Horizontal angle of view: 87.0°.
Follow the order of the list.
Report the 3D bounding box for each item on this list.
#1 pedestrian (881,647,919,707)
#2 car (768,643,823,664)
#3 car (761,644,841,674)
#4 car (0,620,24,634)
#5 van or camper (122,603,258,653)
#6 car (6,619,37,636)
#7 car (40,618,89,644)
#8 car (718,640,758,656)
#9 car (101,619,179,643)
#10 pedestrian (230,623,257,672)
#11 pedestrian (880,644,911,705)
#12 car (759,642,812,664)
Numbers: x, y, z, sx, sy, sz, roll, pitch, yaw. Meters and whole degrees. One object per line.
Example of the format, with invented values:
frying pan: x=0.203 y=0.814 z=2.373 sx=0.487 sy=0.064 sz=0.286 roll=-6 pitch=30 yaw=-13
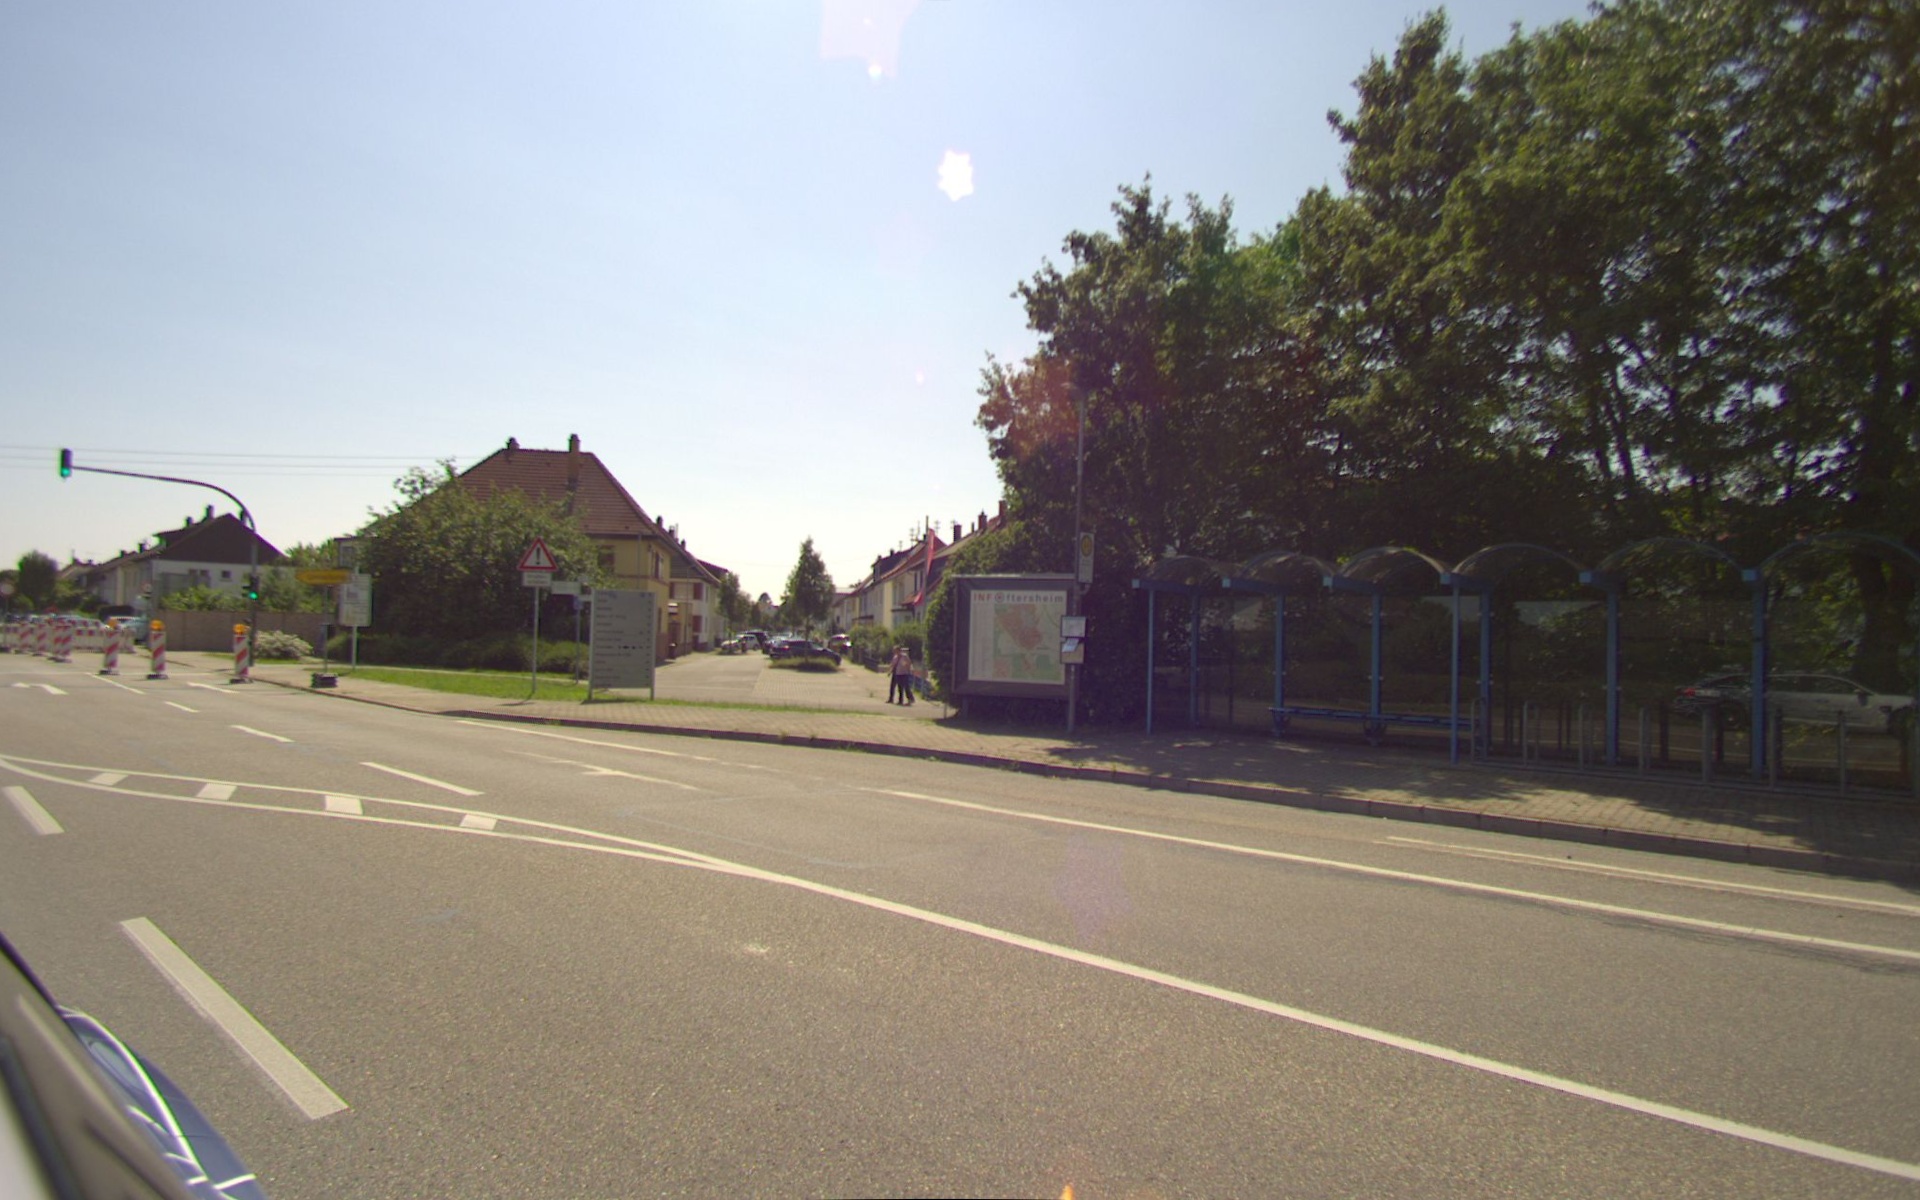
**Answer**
pedestrian: x=-1.803 y=2.309 z=30.349 sx=0.944 sy=1.753 sz=0.818 roll=2 pitch=-2 yaw=-16
car: x=-10.590 y=3.414 z=65.043 sx=3.281 sy=1.281 sz=1.426 roll=2 pitch=-3 yaw=-19
car: x=-8.618 y=3.170 z=55.017 sx=3.939 sy=1.472 sz=1.805 roll=1 pitch=-2 yaw=-43
car: x=-102.671 y=2.878 z=109.390 sx=3.915 sy=1.428 sz=1.716 roll=-1 pitch=-3 yaw=42
van or camper: x=-47.185 y=1.757 z=62.170 sx=2.285 sy=2.866 sz=6.189 roll=-1 pitch=-3 yaw=34
car: x=-88.651 y=2.601 z=95.598 sx=3.915 sy=1.525 sz=1.716 roll=-1 pitch=-3 yaw=42
car: x=-58.705 y=2.025 z=66.289 sx=4.227 sy=1.603 sz=1.838 roll=-1 pitch=-4 yaw=42
car: x=-20.397 y=4.395 z=93.038 sx=1.380 sy=1.424 sz=3.519 roll=-1 pitch=-3 yaw=39
car: x=-57.941 y=2.187 z=71.547 sx=1.766 sy=1.628 sz=3.950 roll=-1 pitch=-3 yaw=37
pedestrian: x=-24.337 y=1.616 z=34.389 sx=0.688 sy=1.620 sz=0.607 roll=-1 pitch=0 yaw=44
pedestrian: x=-1.977 y=2.279 z=31.016 sx=0.791 sy=1.835 sz=0.711 roll=2 pitch=-2 yaw=-15
car: x=-11.639 y=3.537 z=67.414 sx=3.282 sy=1.342 sz=1.426 roll=2 pitch=-3 yaw=-17
